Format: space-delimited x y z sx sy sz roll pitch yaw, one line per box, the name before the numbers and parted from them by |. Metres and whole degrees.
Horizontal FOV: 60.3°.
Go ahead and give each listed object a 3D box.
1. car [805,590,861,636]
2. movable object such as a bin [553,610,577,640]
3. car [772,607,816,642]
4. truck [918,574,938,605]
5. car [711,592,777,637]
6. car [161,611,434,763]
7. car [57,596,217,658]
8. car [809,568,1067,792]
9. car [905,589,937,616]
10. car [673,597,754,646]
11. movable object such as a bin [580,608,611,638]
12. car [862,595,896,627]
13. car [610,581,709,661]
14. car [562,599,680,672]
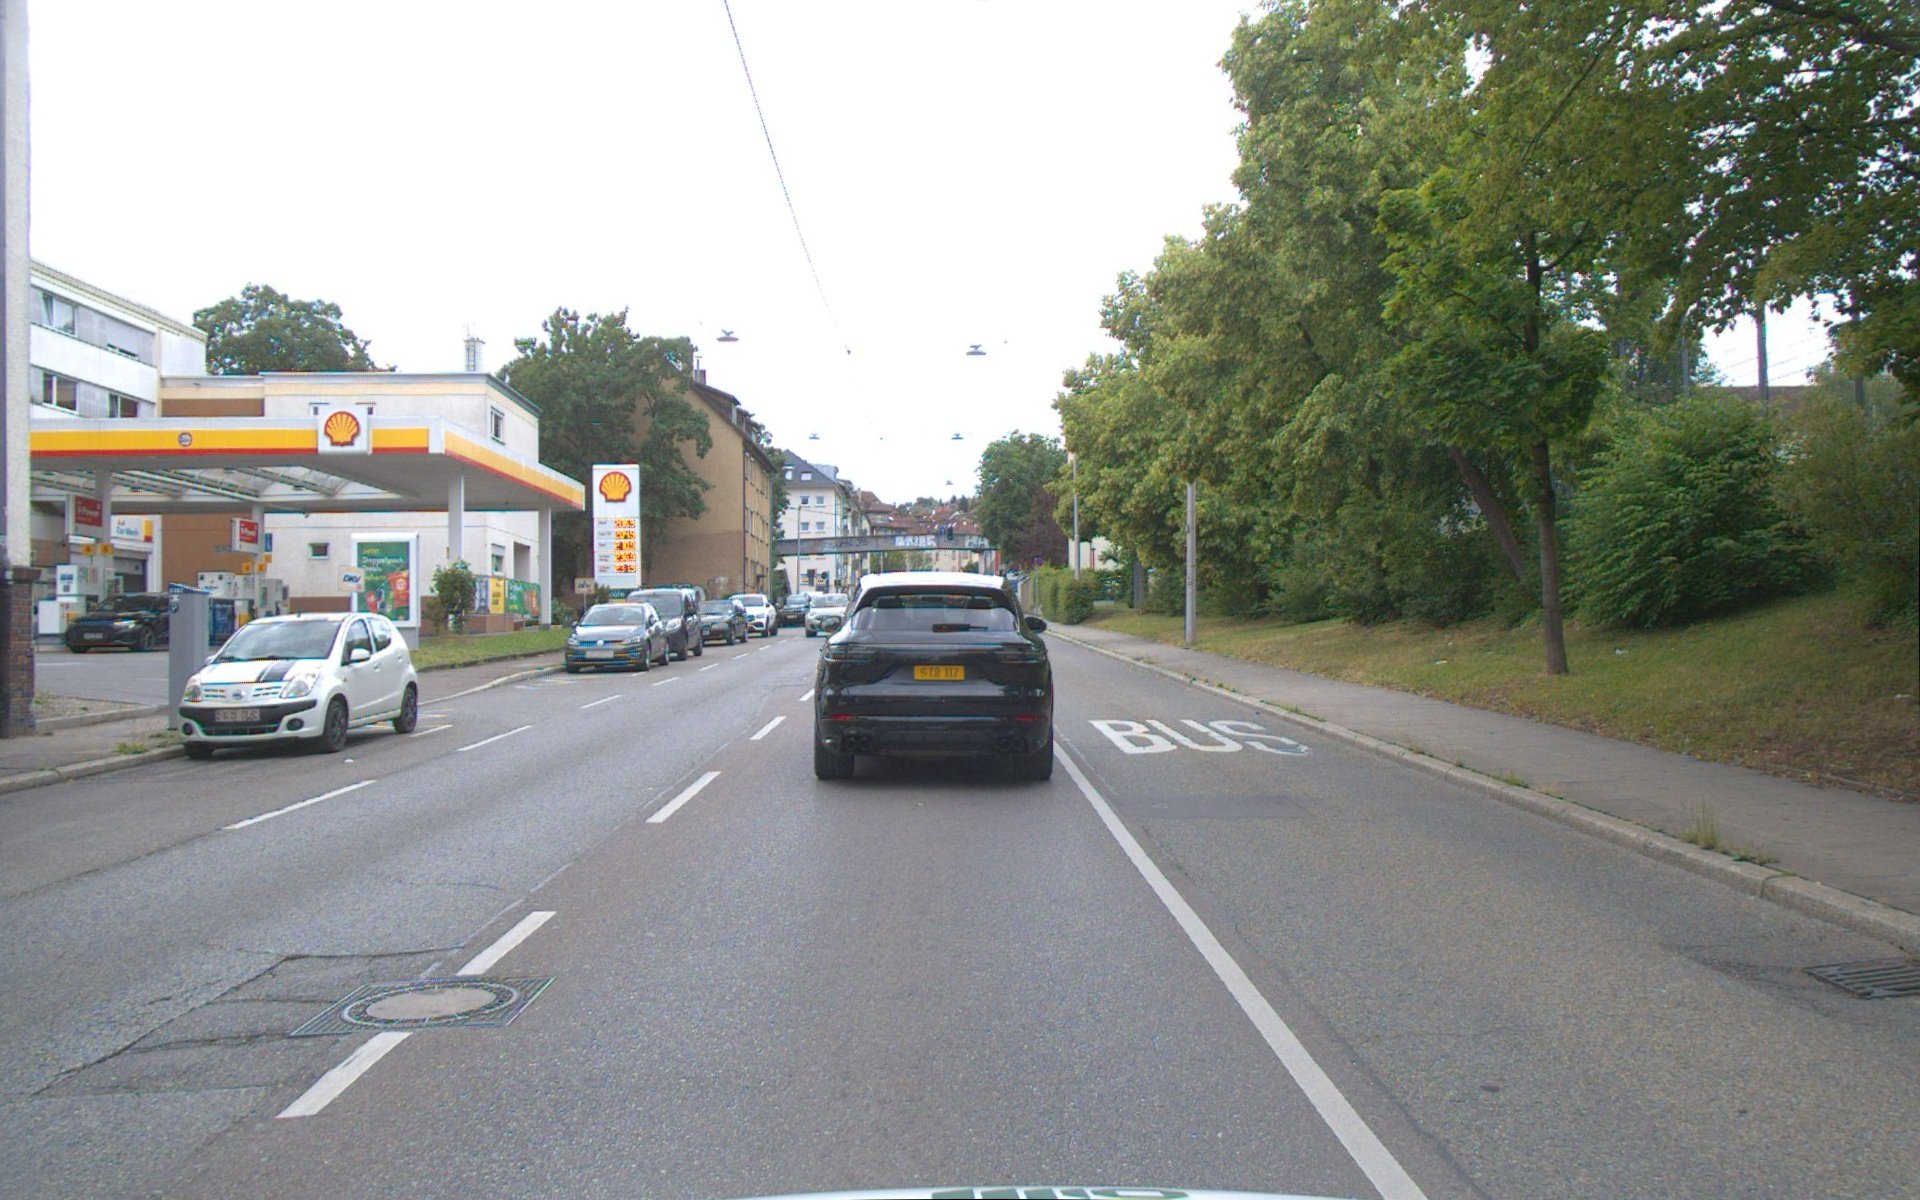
car | -4.633 0.450 60.824 1.761 1.551 3.999 -2 0 -1
movable object such as a bin | -19.561 1.238 81.918 0.892 1.453 1.396 0 0 -3
car | -8.480 1.223 84.739 1.746 1.637 4.264 -3 0 0
truck | -3.720 -1.230 193.322 2.221 3.484 9.875 -1 0 -1
car | -8.166 0.518 62.971 1.876 1.605 4.699 -2 0 0
car | -7.300 0.891 18.603 1.586 1.450 3.664 -1 0 -1
car | -20.021 0.614 40.466 1.761 1.445 4.416 0 0 -1
car | -0.184 0.582 14.522 1.953 1.691 4.000 0 1 -1
car | -2.111 0.129 91.332 1.706 1.424 4.000 0 1 -1
car | -7.941 0.654 53.630 1.760 1.456 4.744 -2 0 1
movable object such as a bin | -18.113 1.134 82.178 1.365 1.453 0.912 0 0 -3
car | -4.155 0.543 85.558 1.649 1.582 3.717 -2 0 -2
car | -7.599 0.502 42.238 1.814 1.867 4.699 -2 0 -3
car | -7.447 0.740 36.721 1.754 1.475 4.217 -2 0 -1
